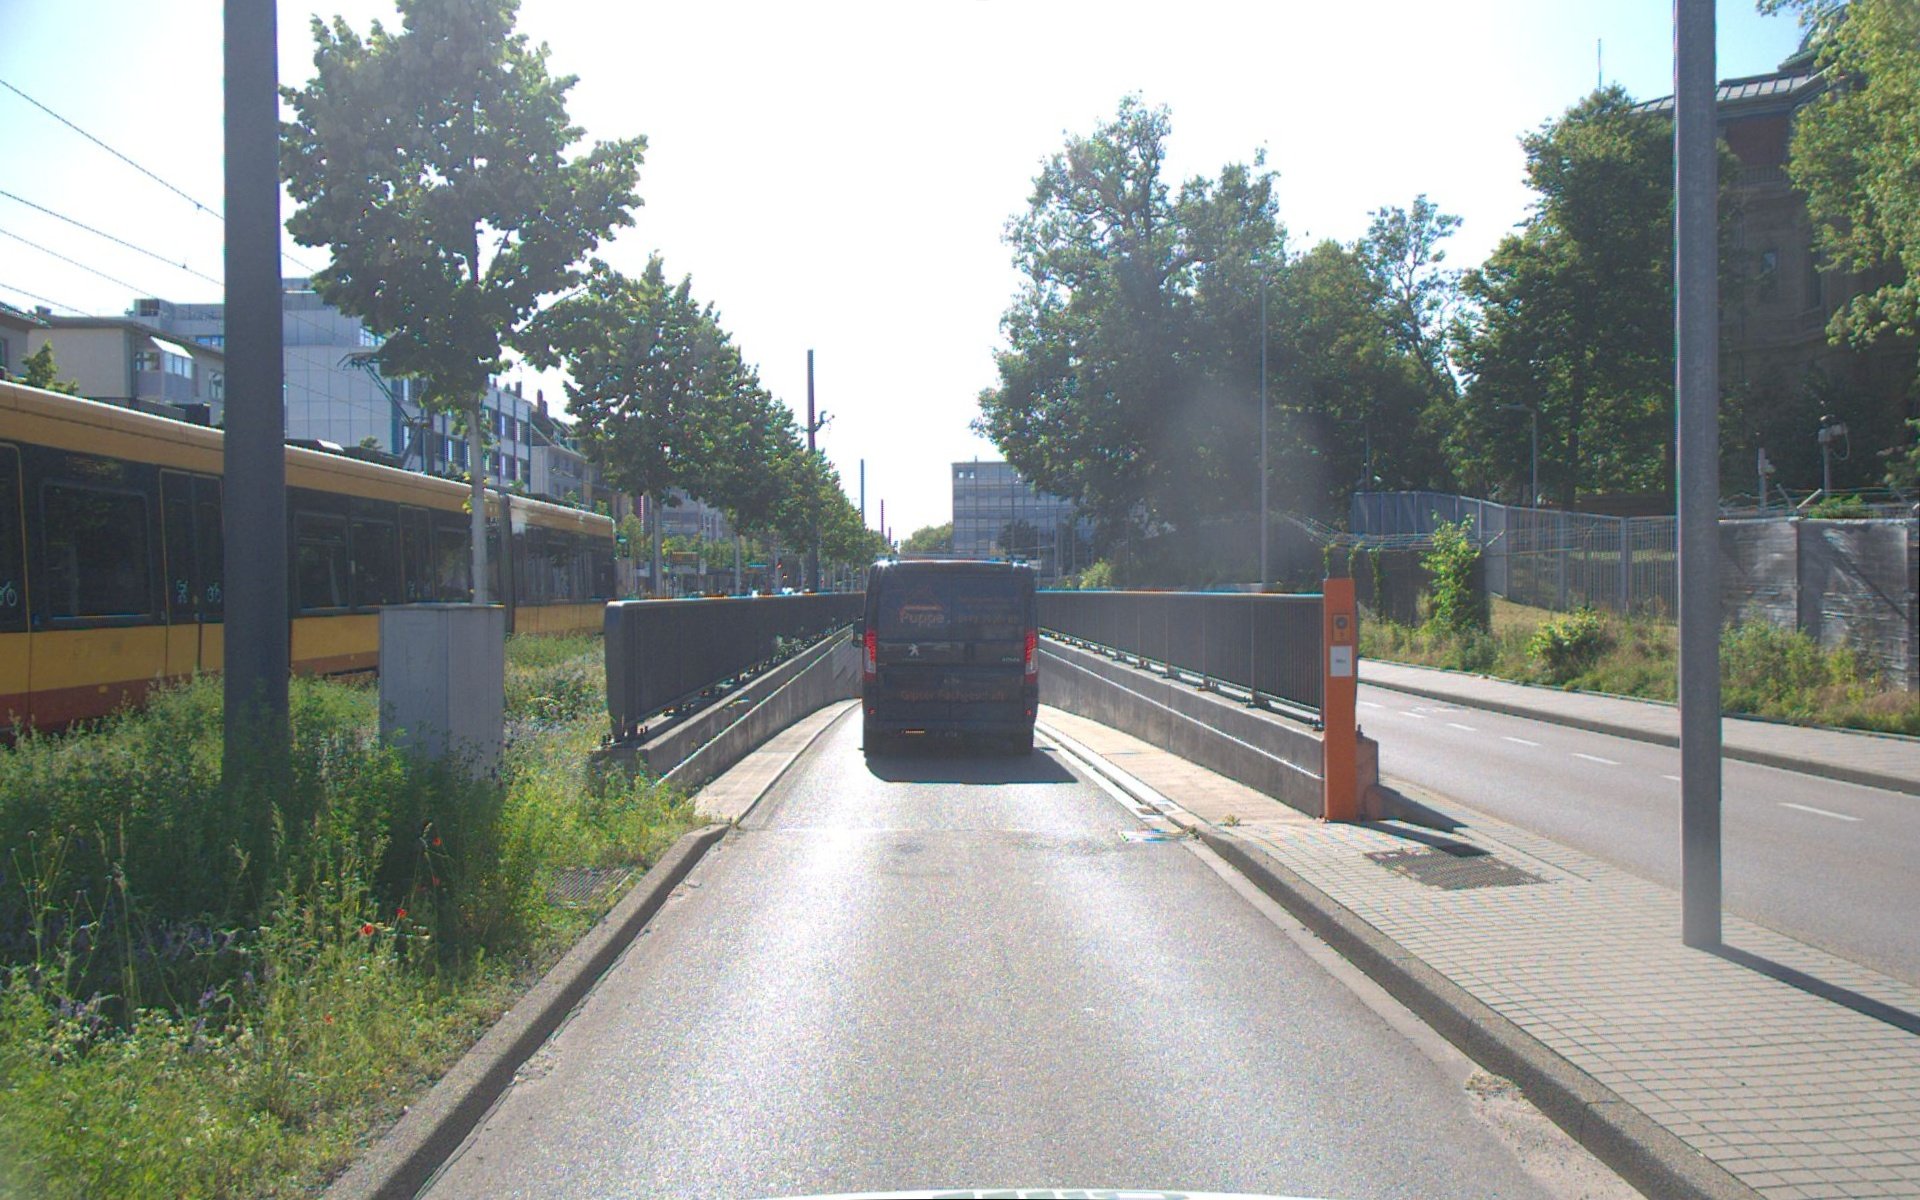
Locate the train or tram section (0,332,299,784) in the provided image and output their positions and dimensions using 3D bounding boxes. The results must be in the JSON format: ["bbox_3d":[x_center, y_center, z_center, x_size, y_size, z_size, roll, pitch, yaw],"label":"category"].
[{"bbox_3d":[-9.178,-0.360,13.301,2.558,3.720,13.338,1,0,-1],"label":"train or tram section"}]

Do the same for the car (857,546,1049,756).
[{"bbox_3d":[-0.110,0.618,20.568,2.114,2.306,4.635,0,-1,-1],"label":"car"}]

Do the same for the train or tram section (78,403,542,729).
[{"bbox_3d":[-9.480,-0.380,26.497,2.558,3.888,13.086,1,0,-2],"label":"train or tram section"}]

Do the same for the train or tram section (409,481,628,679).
[{"bbox_3d":[-9.806,-0.377,37.997,2.559,3.922,9.967,1,0,-2],"label":"train or tram section"}]
